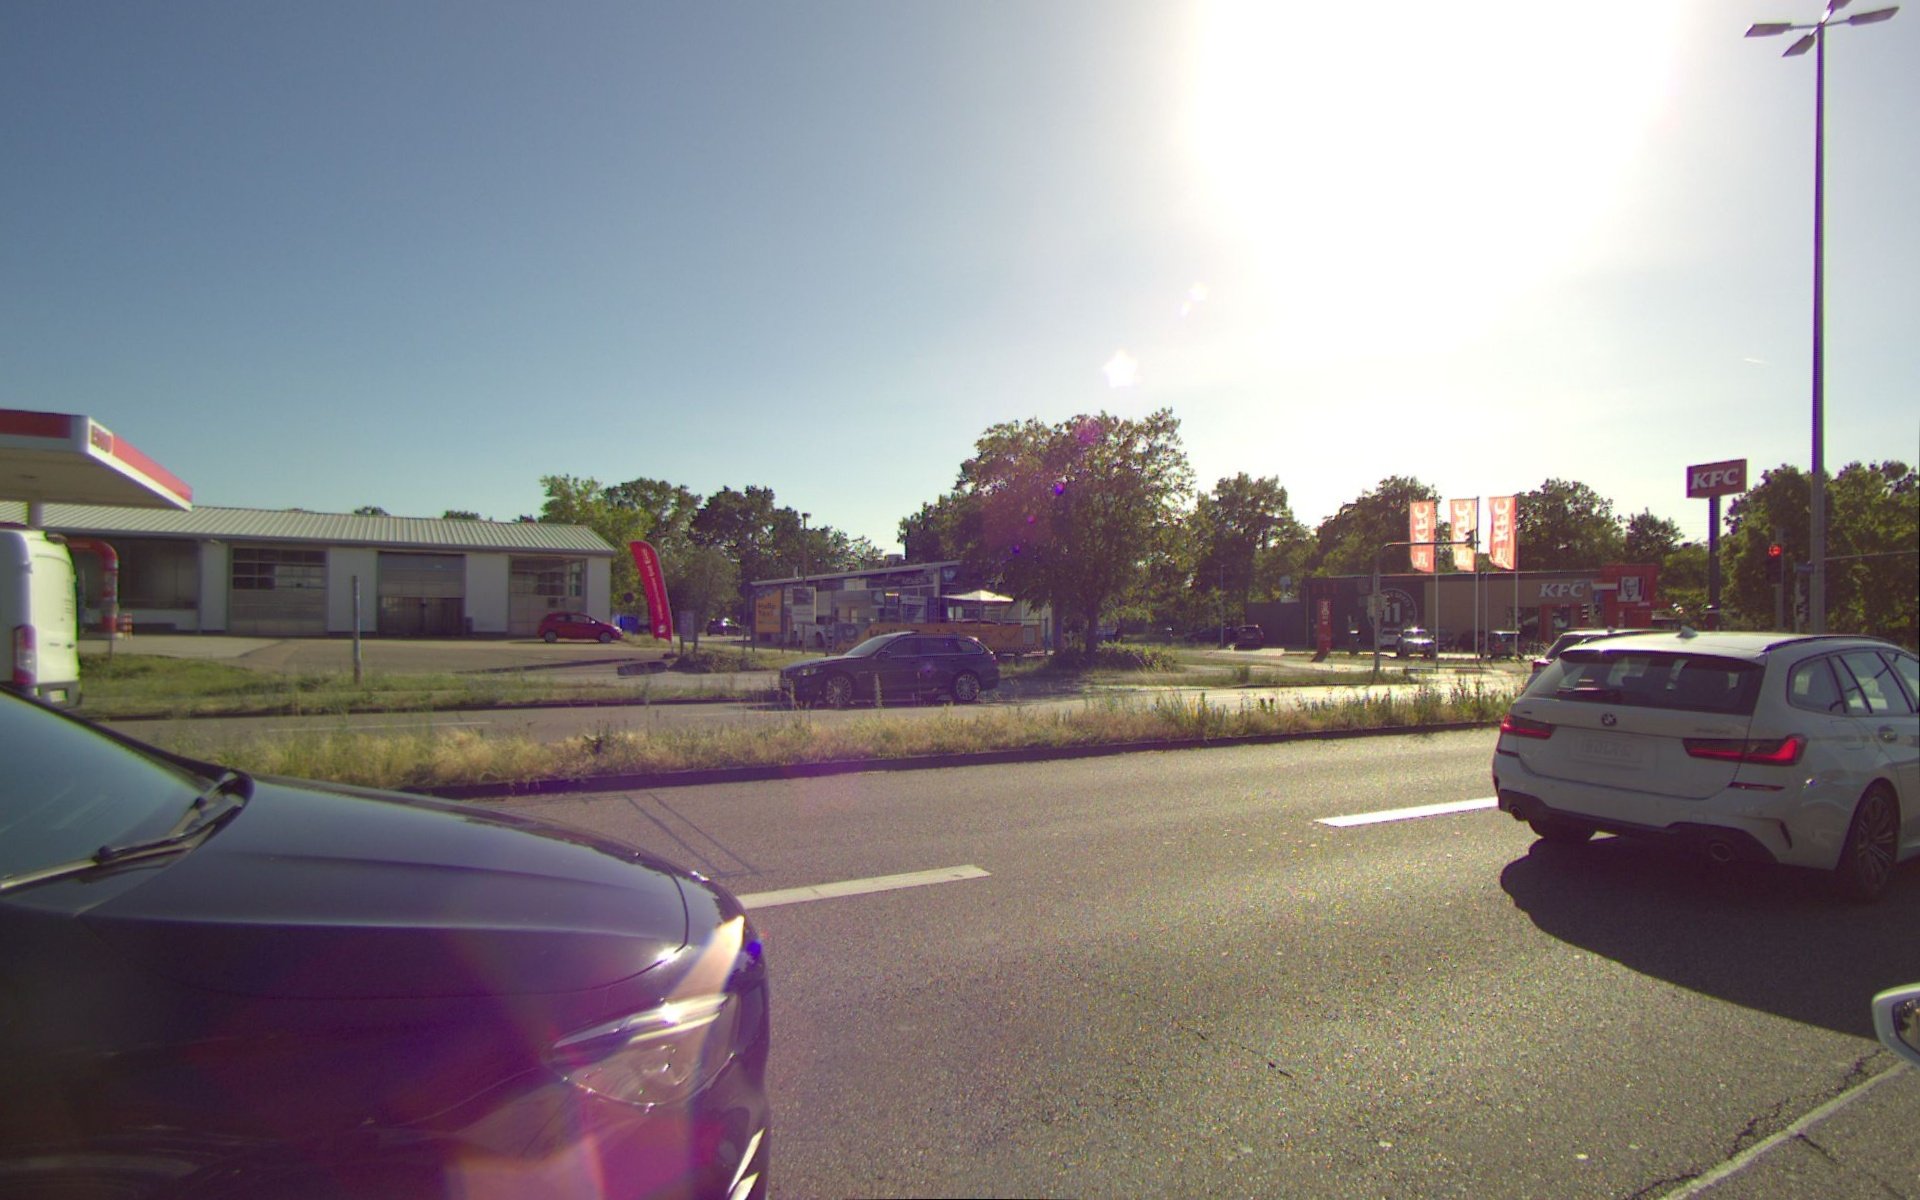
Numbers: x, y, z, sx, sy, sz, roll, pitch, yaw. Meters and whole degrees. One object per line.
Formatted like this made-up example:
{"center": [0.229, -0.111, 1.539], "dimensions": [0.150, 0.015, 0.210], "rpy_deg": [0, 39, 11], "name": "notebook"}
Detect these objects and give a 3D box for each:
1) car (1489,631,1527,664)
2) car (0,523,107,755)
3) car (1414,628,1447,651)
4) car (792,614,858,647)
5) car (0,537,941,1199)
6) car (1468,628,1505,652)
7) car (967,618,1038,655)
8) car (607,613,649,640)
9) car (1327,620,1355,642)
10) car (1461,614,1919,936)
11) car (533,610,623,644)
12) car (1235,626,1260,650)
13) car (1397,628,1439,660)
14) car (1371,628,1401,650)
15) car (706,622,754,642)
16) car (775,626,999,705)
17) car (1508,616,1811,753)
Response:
{"center": [32.733, 2.817, 59.961], "dimensions": [1.880, 1.776, 4.349], "rpy_deg": [2, 0, 29], "name": "car"}
{"center": [-12.793, 0.401, 10.342], "dimensions": [5.756, 2.478, 2.013], "rpy_deg": [2, -5, -31], "name": "car"}
{"center": [33.584, 2.829, 71.706], "dimensions": [1.629, 1.491, 3.919], "rpy_deg": [2, 0, 18], "name": "car"}
{"center": [-7.148, 1.588, 52.947], "dimensions": [1.979, 1.584, 3.964], "rpy_deg": [2, 0, -32], "name": "car"}
{"center": [-2.356, 0.638, 1.439], "dimensions": [4.353, 1.510, 1.750], "rpy_deg": [2, 0, -31], "name": "car"}
{"center": [36.681, 2.750, 70.046], "dimensions": [1.629, 1.491, 3.919], "rpy_deg": [2, 0, 18], "name": "car"}
{"center": [2.040, 1.790, 49.334], "dimensions": [1.839, 1.613, 3.974], "rpy_deg": [2, 0, -26], "name": "car"}
{"center": [-19.669, 1.552, 59.478], "dimensions": [1.634, 1.383, 3.744], "rpy_deg": [2, 0, -29], "name": "car"}
{"center": [27.832, 2.265, 73.455], "dimensions": [1.629, 1.491, 3.919], "rpy_deg": [2, 0, 18], "name": "car"}
{"center": [5.500, 0.928, 6.740], "dimensions": [4.353, 1.510, 1.776], "rpy_deg": [2, 0, -31], "name": "car"}
{"center": [-18.702, 1.325, 49.194], "dimensions": [3.946, 1.536, 1.772], "rpy_deg": [2, 0, -25], "name": "car"}
{"center": [21.466, 2.808, 74.918], "dimensions": [1.629, 1.695, 3.945], "rpy_deg": [2, 0, 18], "name": "car"}
{"center": [27.989, 2.658, 61.282], "dimensions": [1.964, 1.788, 4.349], "rpy_deg": [2, 0, 29], "name": "car"}
{"center": [30.953, 2.806, 72.980], "dimensions": [1.629, 1.491, 3.919], "rpy_deg": [2, 0, 18], "name": "car"}
{"center": [-19.965, 2.780, 87.383], "dimensions": [3.929, 1.634, 1.996], "rpy_deg": [2, 0, -11], "name": "car"}
{"center": [-1.496, 1.388, 21.199], "dimensions": [4.425, 1.509, 1.751], "rpy_deg": [2, -5, -30], "name": "car"}
{"center": [9.299, 1.051, 13.283], "dimensions": [4.150, 1.510, 1.750], "rpy_deg": [2, 0, -31], "name": "car"}
